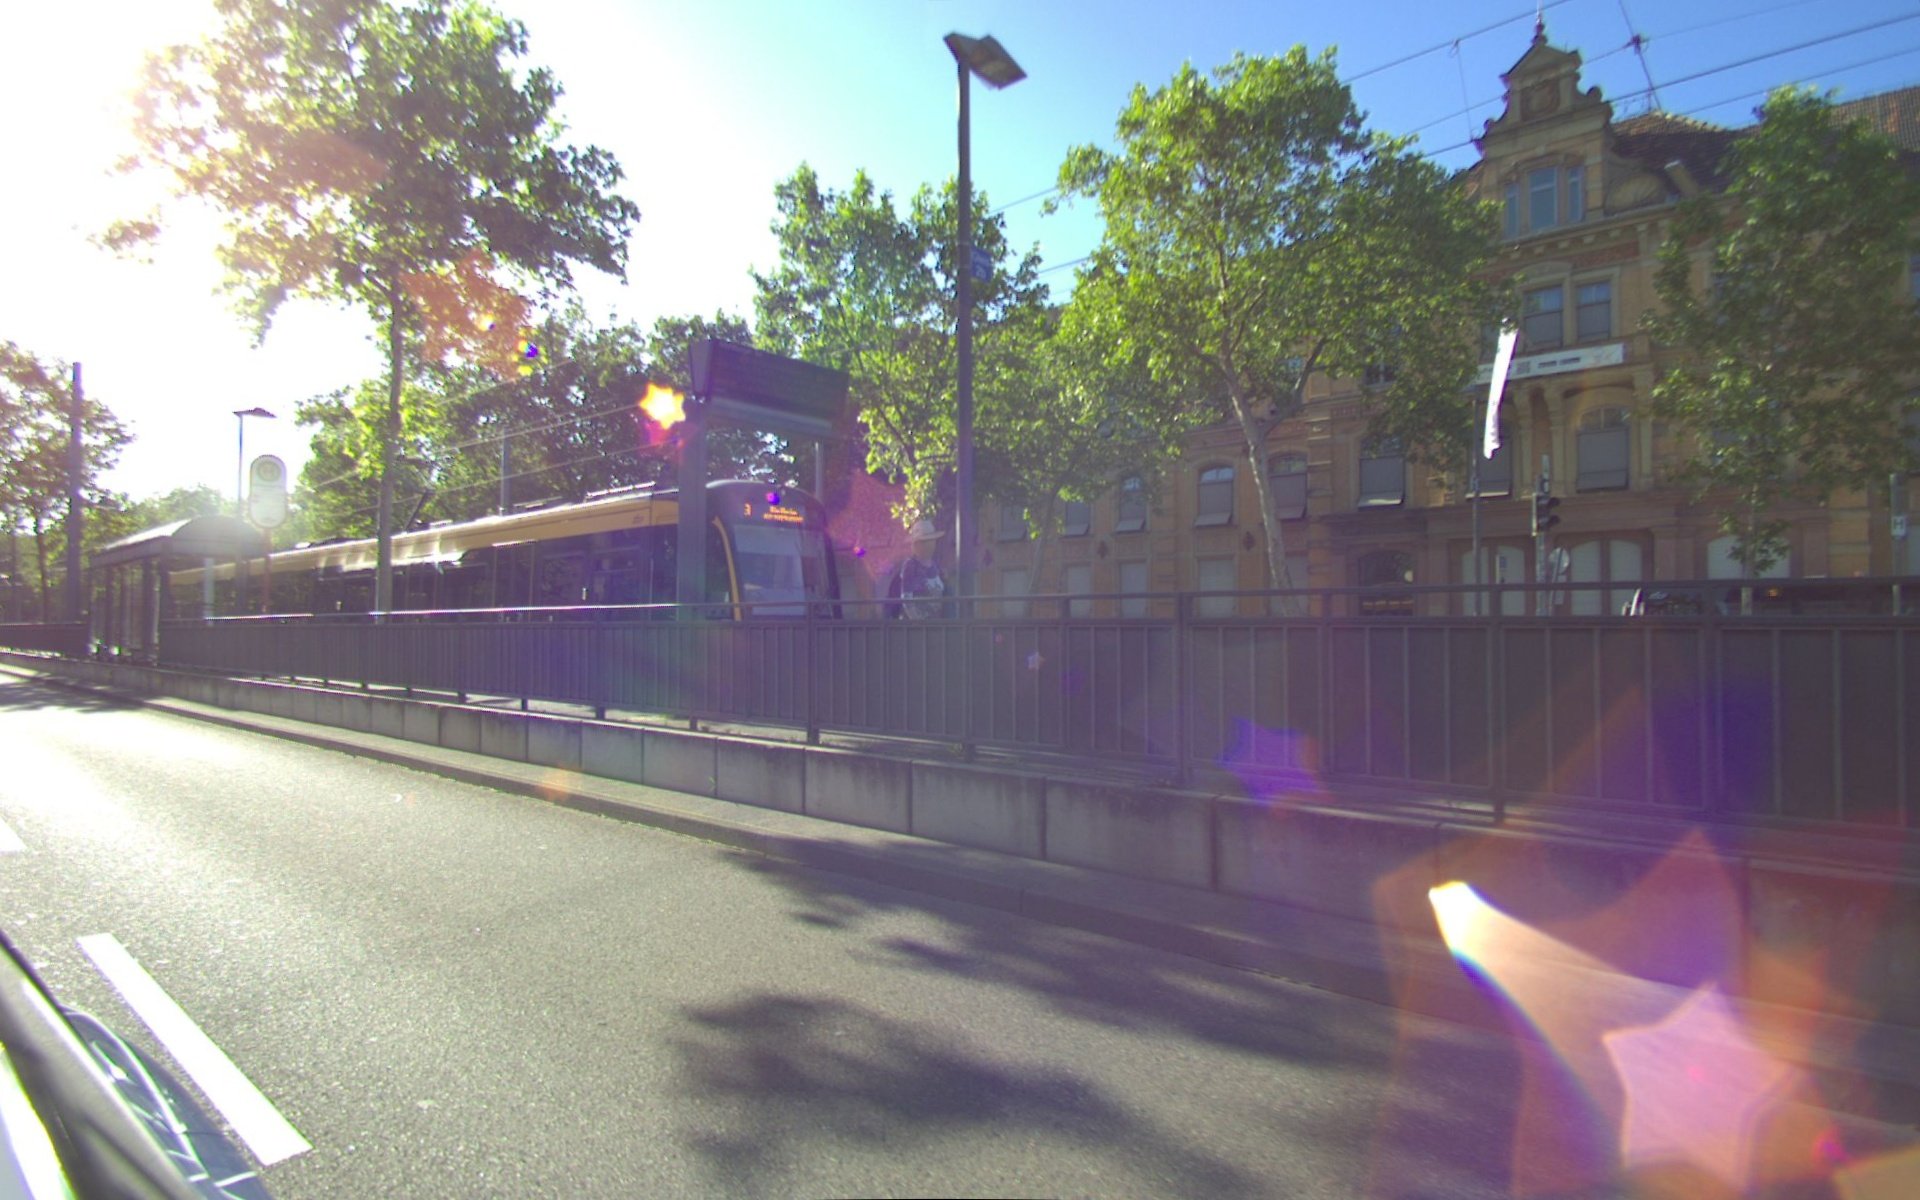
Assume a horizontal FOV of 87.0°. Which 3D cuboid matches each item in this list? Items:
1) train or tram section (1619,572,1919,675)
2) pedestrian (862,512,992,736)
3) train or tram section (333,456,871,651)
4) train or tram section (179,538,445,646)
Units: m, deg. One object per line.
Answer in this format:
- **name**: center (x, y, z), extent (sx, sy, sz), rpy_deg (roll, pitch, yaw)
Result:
- **train or tram section**: center (21.467, 0.618, 25.263), extent (8.074, 2.346, 2.616), rpy_deg (-2, -3, 42)
- **pedestrian**: center (-0.262, 0.192, 7.972), extent (0.761, 1.648, 0.691), rpy_deg (-2, -3, 41)
- **train or tram section**: center (-8.027, -0.374, 19.527), extent (15.668, 2.584, 2.535), rpy_deg (-2, -3, 42)
- **train or tram section**: center (-19.540, 0.040, 29.699), extent (15.066, 2.551, 2.535), rpy_deg (-2, -3, 42)
